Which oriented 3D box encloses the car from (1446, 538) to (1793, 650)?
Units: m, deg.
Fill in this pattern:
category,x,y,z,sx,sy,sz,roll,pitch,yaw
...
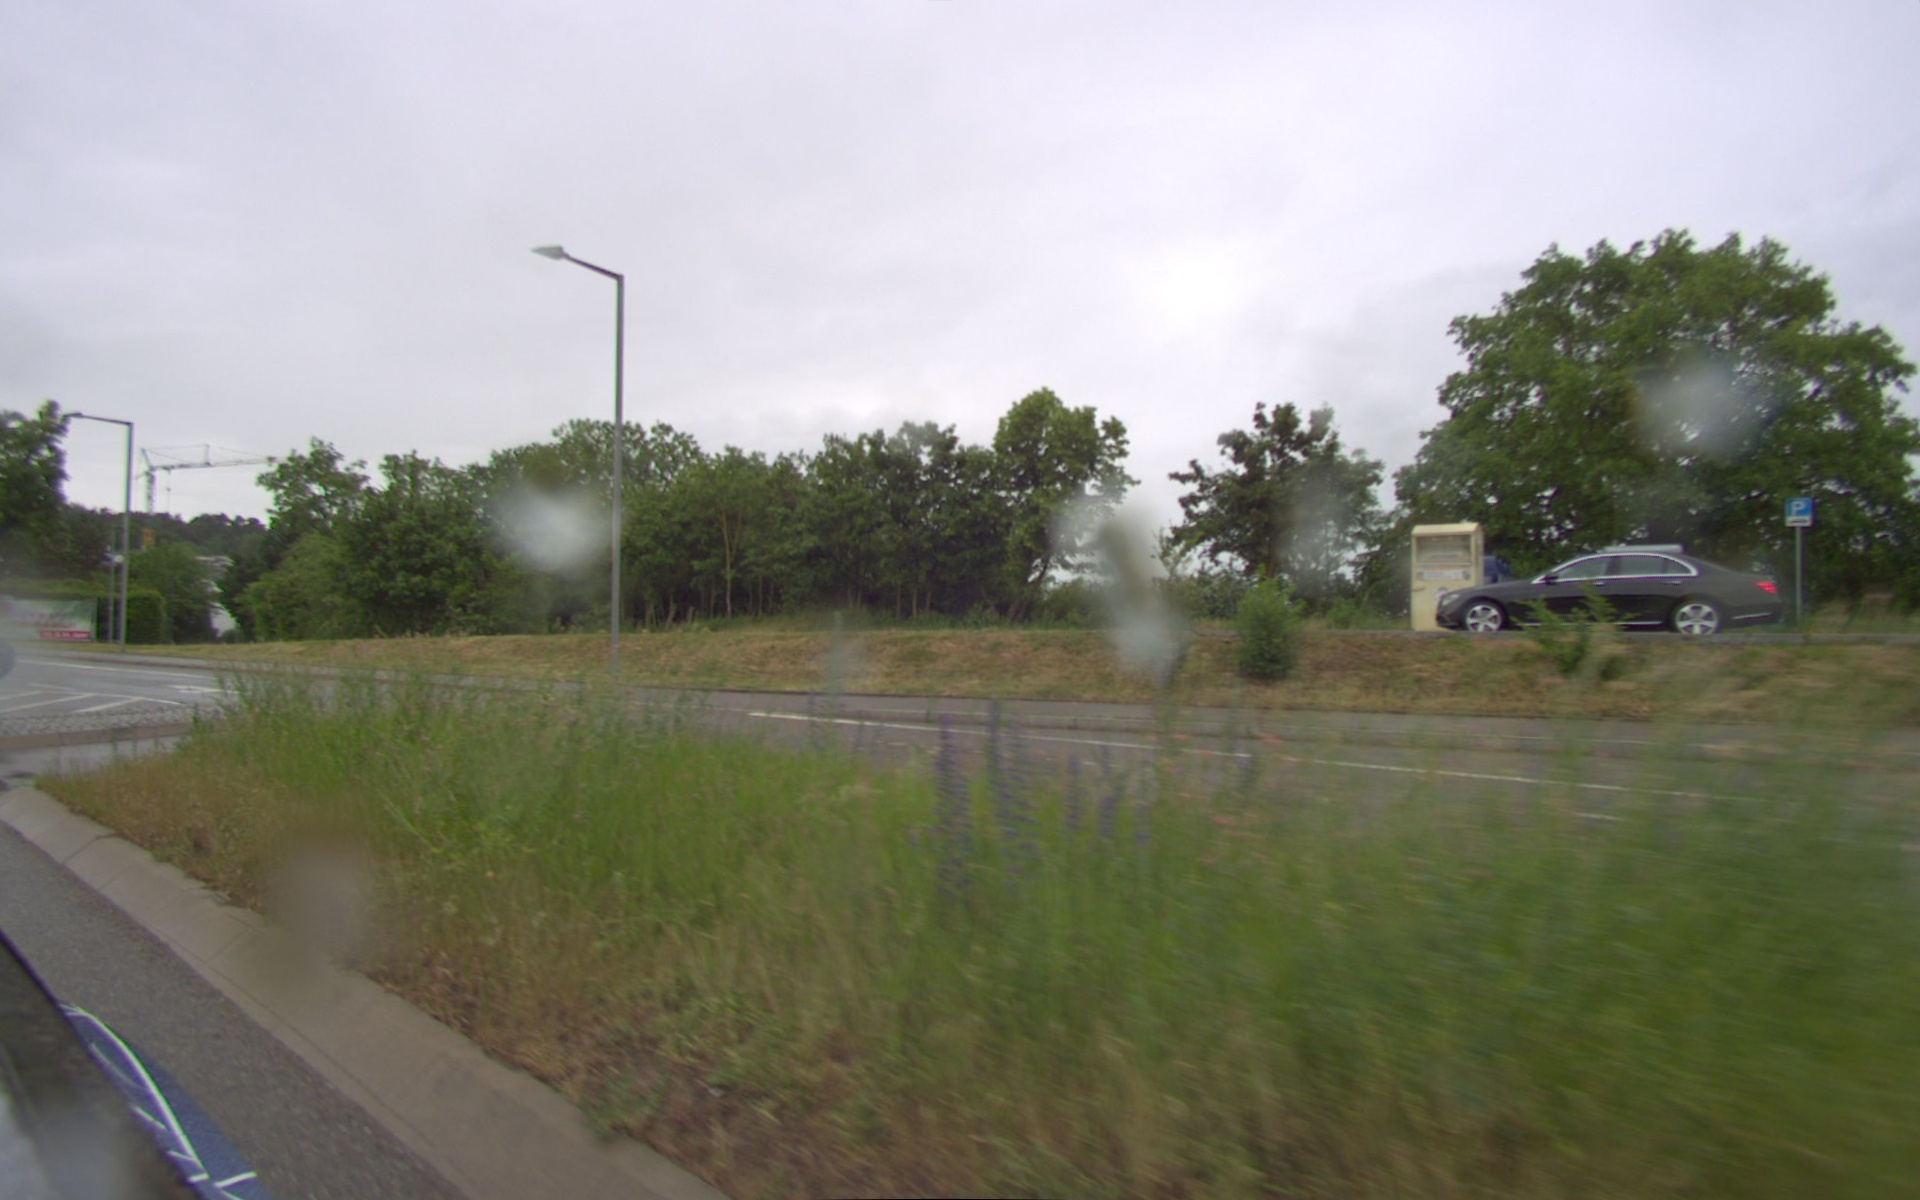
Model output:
category,x,y,z,sx,sy,sz,roll,pitch,yaw
car,10.661,-0.037,16.676,4.531,1.580,1.677,-3,-1,35
